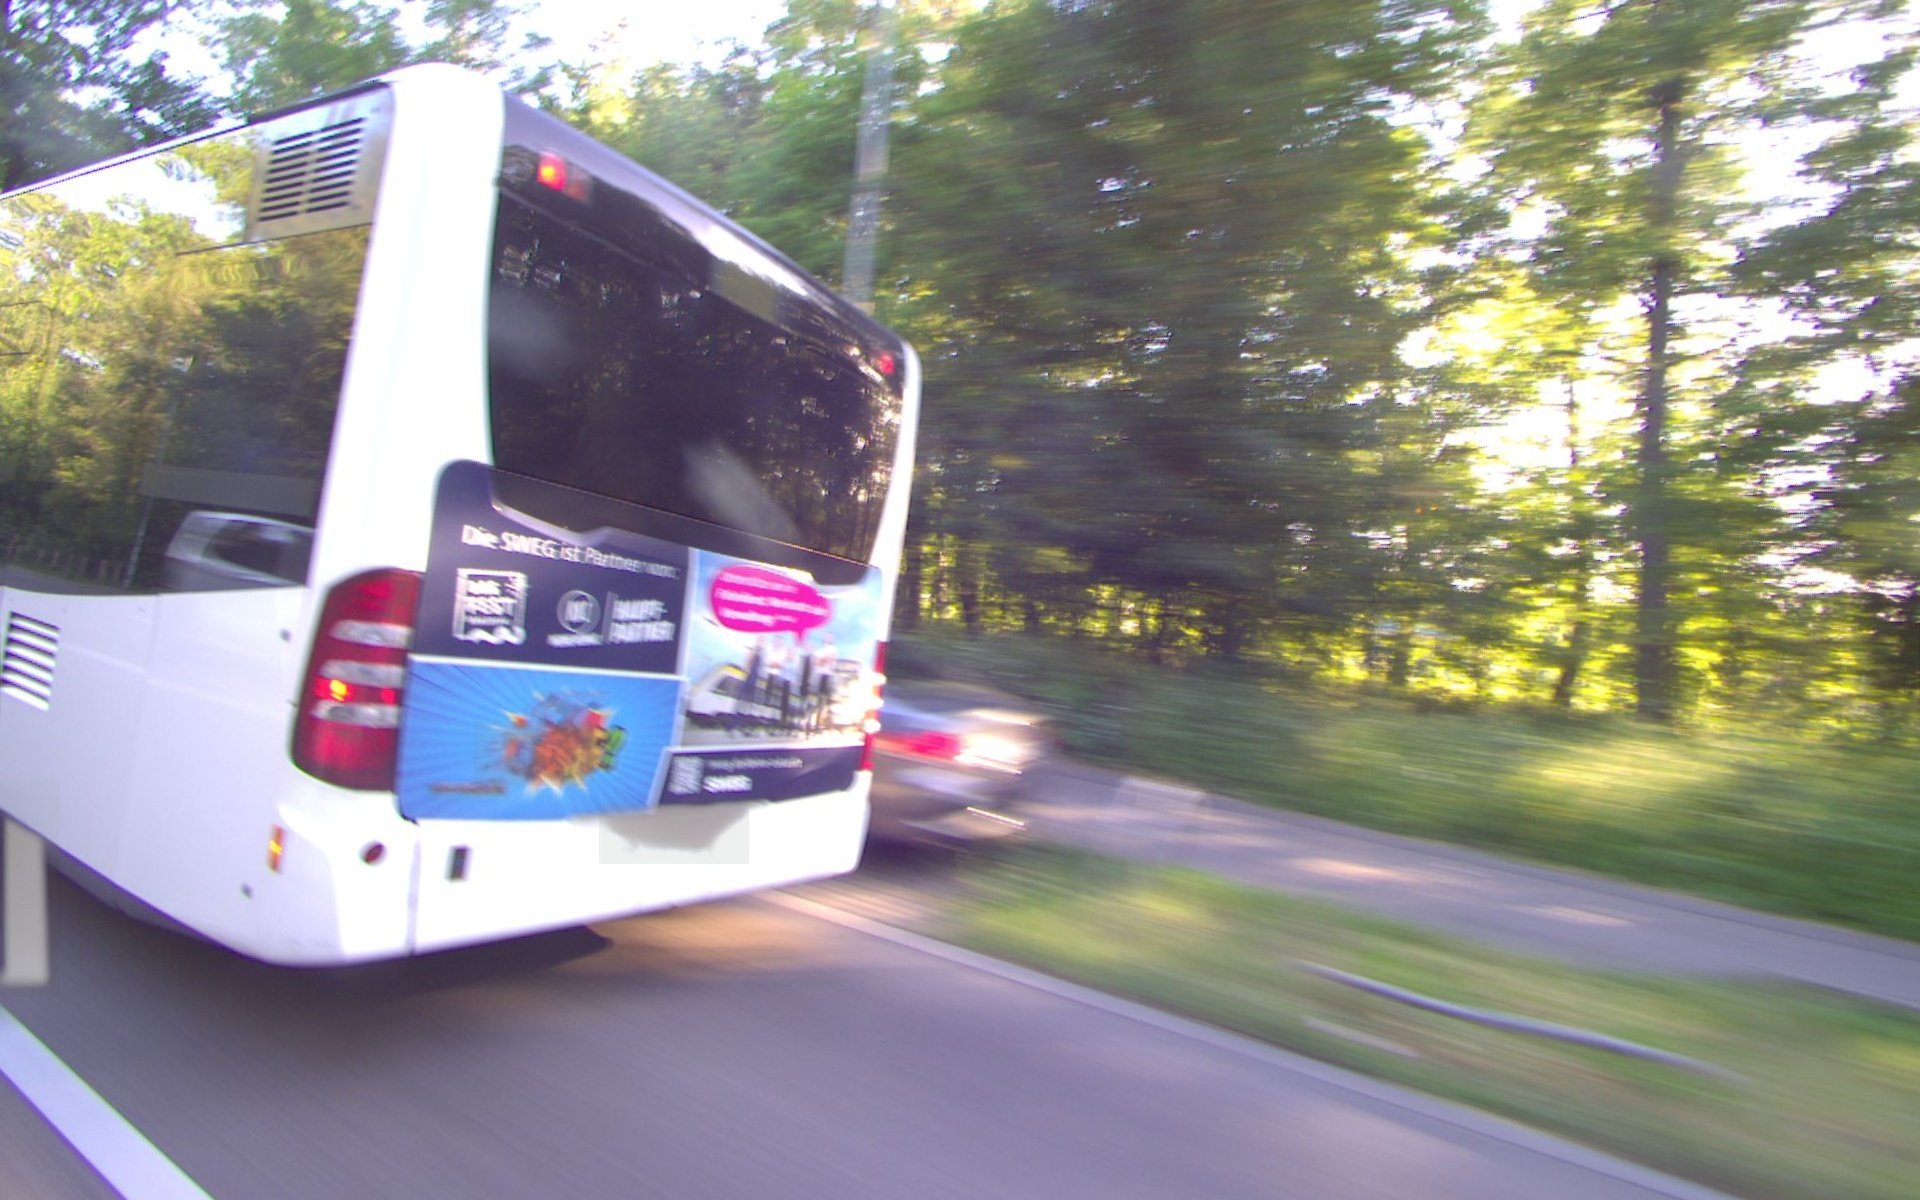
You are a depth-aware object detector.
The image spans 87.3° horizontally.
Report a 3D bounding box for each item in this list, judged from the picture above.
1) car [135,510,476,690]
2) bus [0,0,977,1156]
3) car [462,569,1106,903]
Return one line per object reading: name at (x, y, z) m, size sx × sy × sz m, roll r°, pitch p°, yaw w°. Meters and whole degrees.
car at (-7.660, -0.057, 11.666) m, size 4.134 × 1.568 × 1.647 m, roll 7°, pitch 2°, yaw 32°
bus at (-5.915, -0.751, 6.731) m, size 12.074 × 3.261 × 2.708 m, roll 7°, pitch -1°, yaw 31°
car at (-1.421, 0.722, 7.320) m, size 4.447 × 1.410 × 1.853 m, roll 7°, pitch 2°, yaw 32°
